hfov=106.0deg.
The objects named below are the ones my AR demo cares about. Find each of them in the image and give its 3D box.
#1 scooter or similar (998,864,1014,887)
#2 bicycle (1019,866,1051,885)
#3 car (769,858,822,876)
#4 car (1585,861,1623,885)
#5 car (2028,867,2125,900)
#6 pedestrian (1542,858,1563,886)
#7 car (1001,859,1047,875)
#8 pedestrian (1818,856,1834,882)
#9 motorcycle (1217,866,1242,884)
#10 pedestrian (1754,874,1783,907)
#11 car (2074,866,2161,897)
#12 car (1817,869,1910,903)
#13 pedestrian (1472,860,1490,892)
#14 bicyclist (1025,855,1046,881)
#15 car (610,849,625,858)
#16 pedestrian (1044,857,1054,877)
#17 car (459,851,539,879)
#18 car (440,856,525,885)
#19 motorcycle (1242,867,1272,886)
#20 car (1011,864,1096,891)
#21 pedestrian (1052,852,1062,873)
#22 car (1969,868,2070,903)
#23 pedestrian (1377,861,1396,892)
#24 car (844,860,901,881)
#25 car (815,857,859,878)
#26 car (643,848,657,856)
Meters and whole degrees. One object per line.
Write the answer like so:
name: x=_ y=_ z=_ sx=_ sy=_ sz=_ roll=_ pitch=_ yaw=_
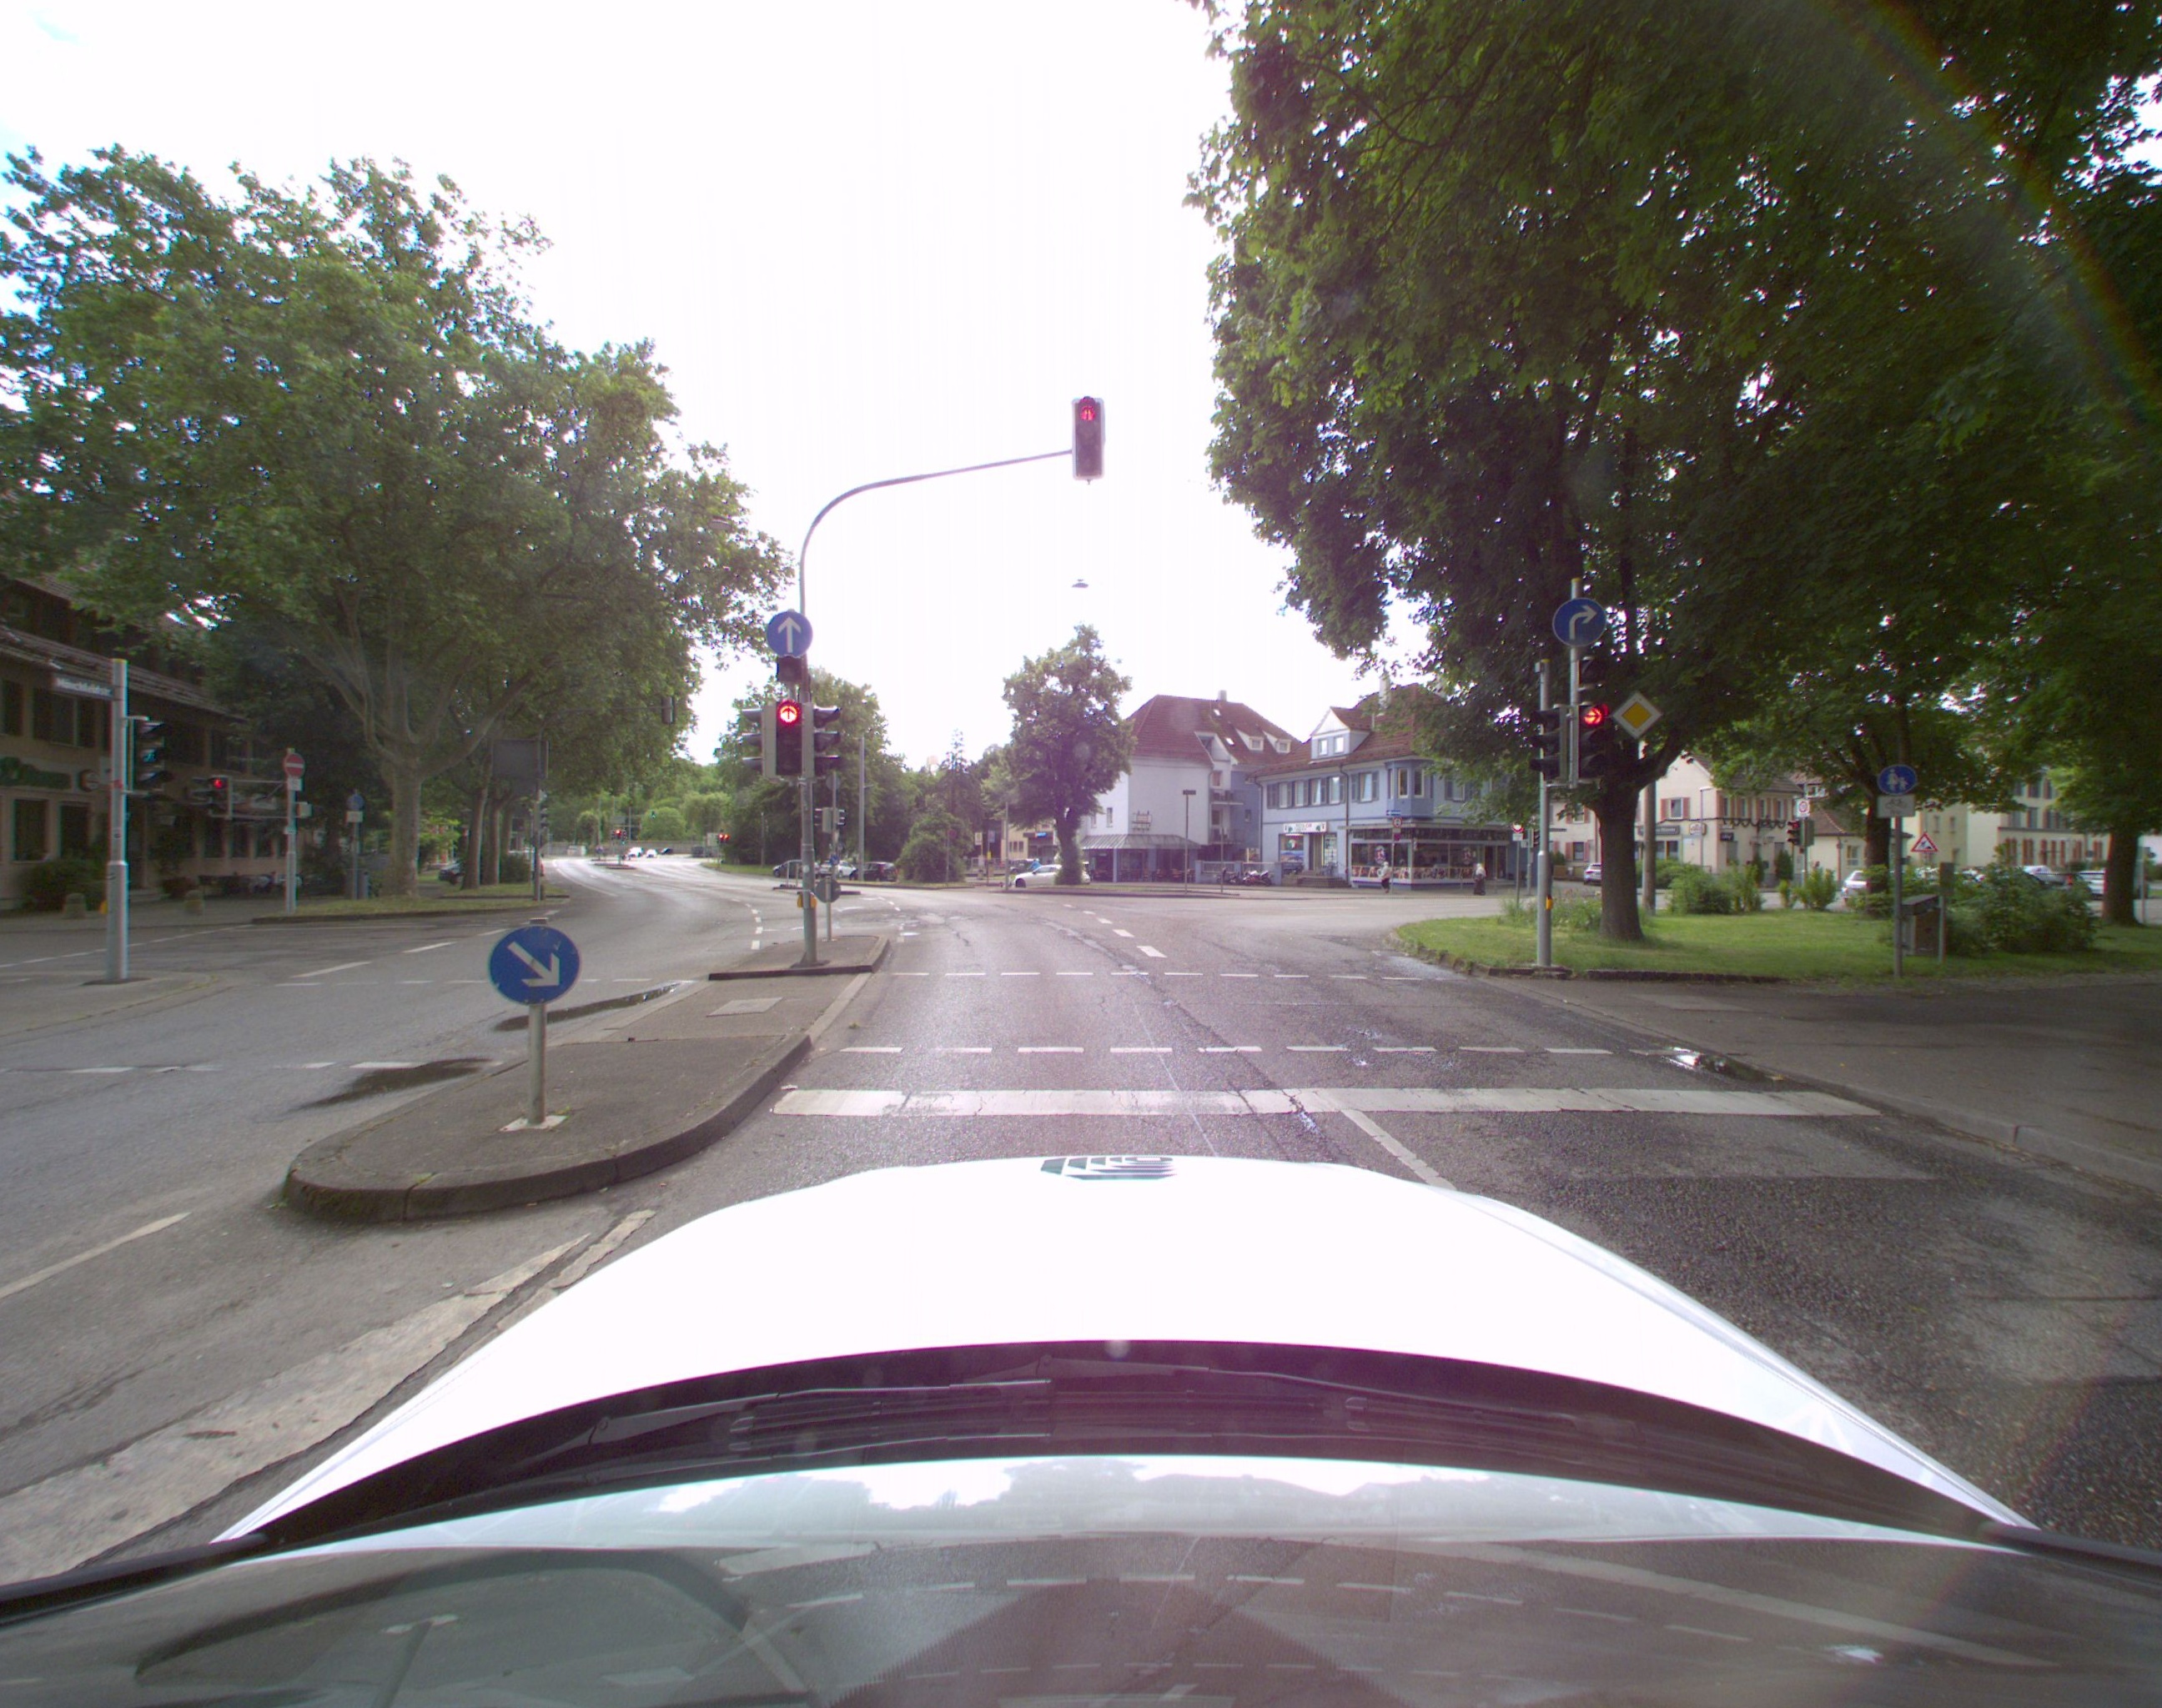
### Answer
scooter or similar: x=-3.950 y=1.138 z=42.850 sx=0.439 sy=1.175 sz=1.442 roll=-1 pitch=-1 yaw=11
bicycle: x=-2.949 y=1.363 z=52.207 sx=1.927 sy=1.149 sz=0.882 roll=0 pitch=-1 yaw=36
car: x=-22.588 y=1.022 z=64.520 sx=3.742 sy=1.465 sz=1.629 roll=0 pitch=0 yaw=20
car: x=32.460 y=1.144 z=50.626 sx=1.866 sy=1.391 sz=3.637 roll=0 pitch=0 yaw=31
car: x=47.082 y=1.376 z=38.522 sx=3.731 sy=1.457 sz=1.640 roll=0 pitch=0 yaw=-17
pedestrian: x=26.386 y=0.990 z=45.560 sx=0.671 sy=1.560 sz=0.743 roll=0 pitch=-1 yaw=-13
car: x=-5.319 y=1.231 z=75.922 sx=3.948 sy=1.442 sz=1.742 roll=0 pitch=0 yaw=-18
pedestrian: x=46.402 y=0.931 z=50.703 sx=0.504 sy=1.560 sz=0.507 roll=0 pitch=-1 yaw=-13
motorcycle: x=9.137 y=1.308 z=50.052 sx=1.441 sy=1.088 sz=0.527 roll=-1 pitch=-1 yaw=37
pedestrian: x=22.757 y=1.198 z=26.966 sx=0.505 sy=1.081 sz=0.514 roll=0 pitch=-1 yaw=-13
car: x=52.598 y=1.376 z=41.260 sx=3.731 sy=1.457 sz=1.640 roll=0 pitch=0 yaw=-17
car: x=31.862 y=1.275 z=33.182 sx=3.007 sy=1.267 sz=1.455 roll=0 pitch=-1 yaw=-17
pedestrian: x=19.442 y=1.052 z=39.589 sx=0.687 sy=1.560 sz=0.671 roll=-1 pitch=-1 yaw=33
bicyclist: x=-2.930 y=0.878 z=52.180 sx=0.976 sy=1.651 sz=0.924 roll=-1 pitch=-1 yaw=36
car: x=-87.103 y=-0.103 z=152.994 sx=3.293 sy=1.486 sz=1.594 roll=-1 pitch=-2 yaw=43
pedestrian: x=-3.231 y=1.295 z=81.104 sx=0.838 sy=2.014 sz=1.051 roll=0 pitch=-1 yaw=-12
car: x=-36.458 y=0.675 z=51.180 sx=4.015 sy=1.684 sz=1.979 roll=0 pitch=-1 yaw=-34
car: x=-35.628 y=0.951 z=48.611 sx=4.015 sy=1.684 sz=1.979 roll=0 pitch=-1 yaw=-34
motorcycle: x=10.430 y=1.319 z=48.250 sx=1.609 sy=1.088 sz=0.631 roll=-1 pitch=-1 yaw=34
car: x=-1.593 y=1.285 z=45.937 sx=4.654 sy=1.410 sz=1.914 roll=0 pitch=-1 yaw=37
pedestrian: x=-1.744 y=0.613 z=59.388 sx=0.538 sy=1.560 sz=0.470 roll=-1 pitch=-1 yaw=15
car: x=42.348 y=1.384 z=36.759 sx=3.731 sy=1.457 sz=1.640 roll=0 pitch=0 yaw=-17
pedestrian: x=15.632 y=1.144 z=41.623 sx=0.724 sy=1.560 sz=0.773 roll=-1 pitch=-1 yaw=33
car: x=-13.825 y=1.052 z=54.006 sx=3.285 sy=1.352 sz=1.791 roll=0 pitch=0 yaw=29
car: x=-20.134 y=1.081 z=67.411 sx=1.848 sy=1.640 sz=3.768 roll=0 pitch=0 yaw=13
car: x=-83.272 y=-0.348 z=157.351 sx=2.988 sy=1.417 sz=1.509 roll=-1 pitch=-2 yaw=43
